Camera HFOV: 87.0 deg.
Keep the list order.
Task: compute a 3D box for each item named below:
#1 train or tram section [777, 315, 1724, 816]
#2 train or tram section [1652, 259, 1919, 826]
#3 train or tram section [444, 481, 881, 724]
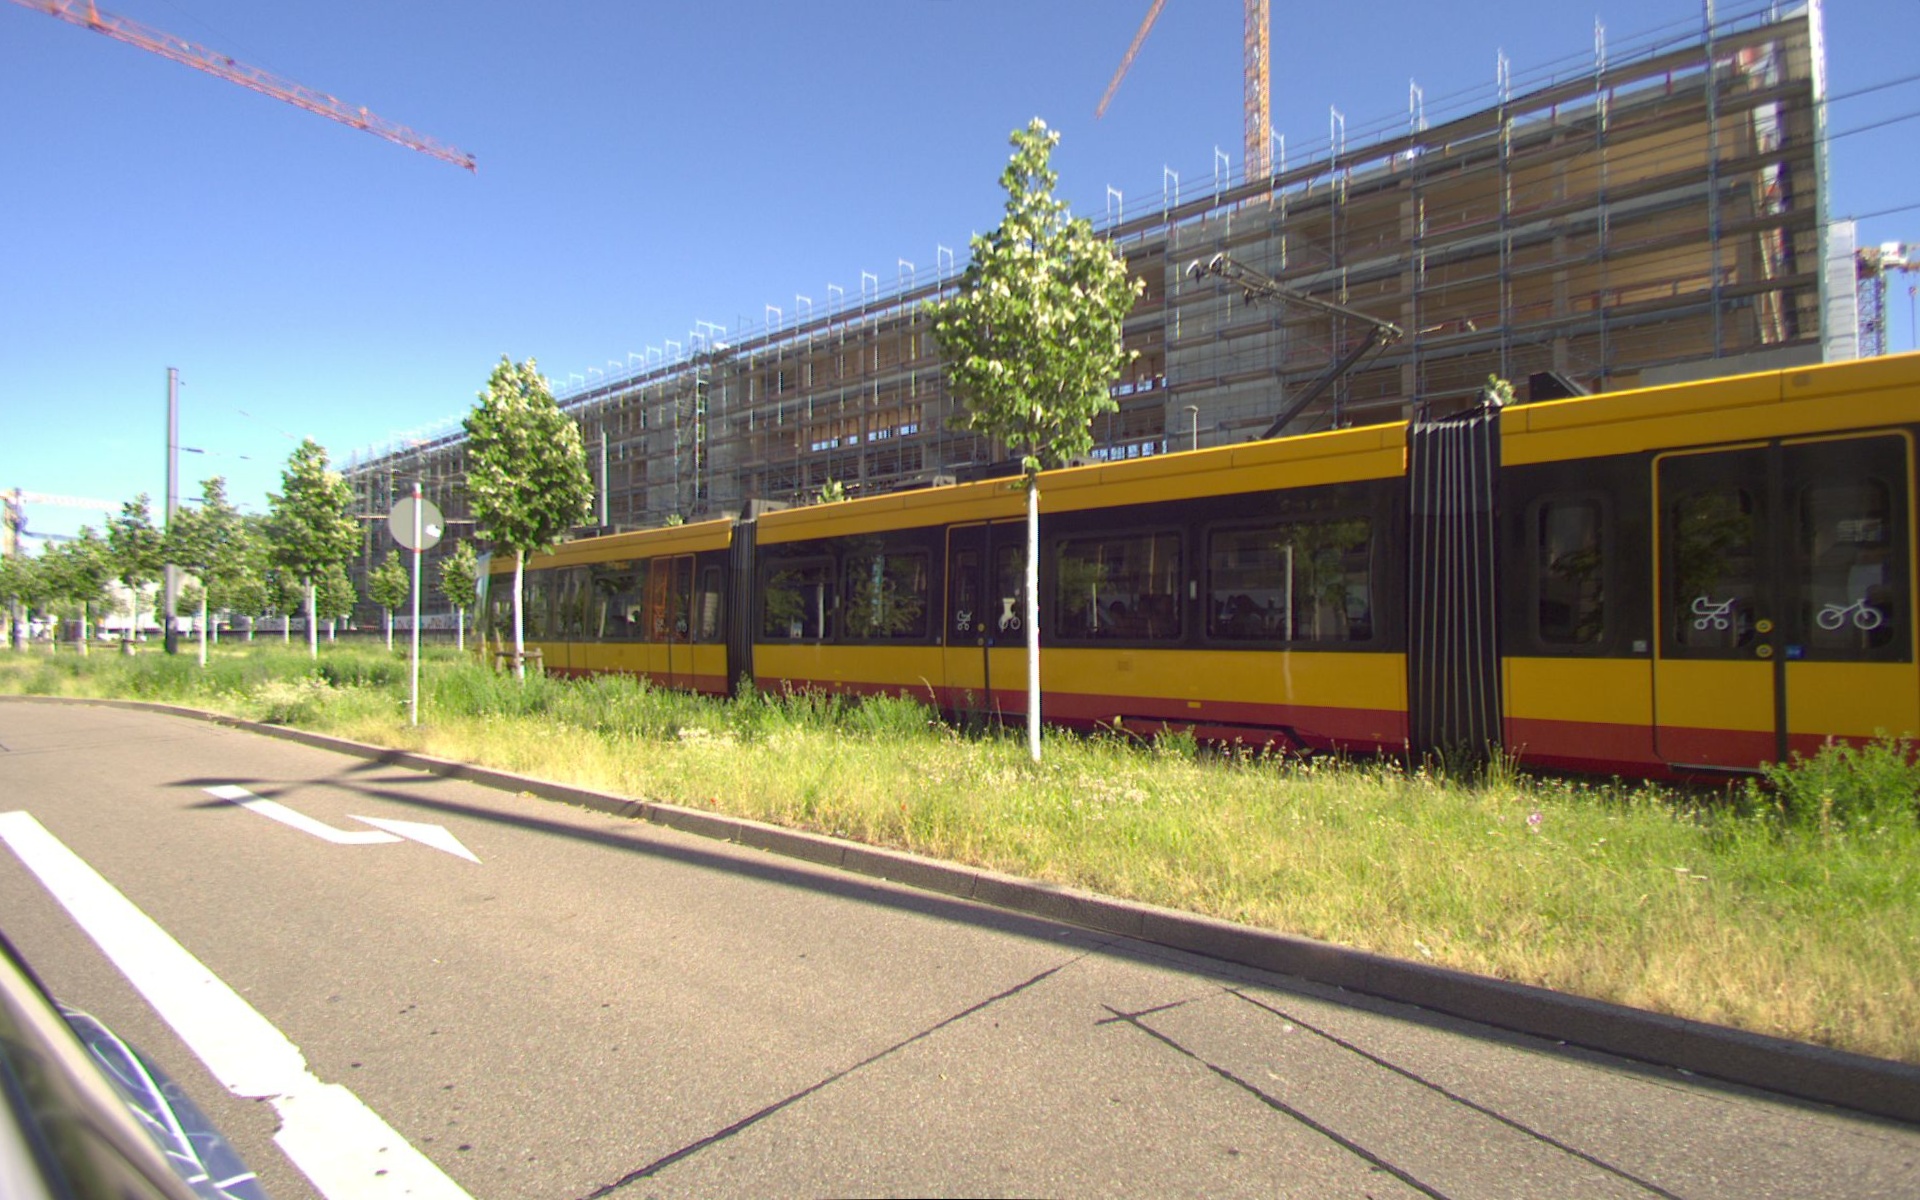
[{"bbox_3d":[1.944,-0.151,12.148,11.321,3.697,1.971,-2,-1,45],"label":"train or tram section"},{"bbox_3d":[10.120,-0.469,4.252,11.685,3.697,1.971,-2,-1,44],"label":"train or tram section"},{"bbox_3d":[-7.092,0.179,21.035,14.156,3.697,1.971,-2,-1,44],"label":"train or tram section"}]
